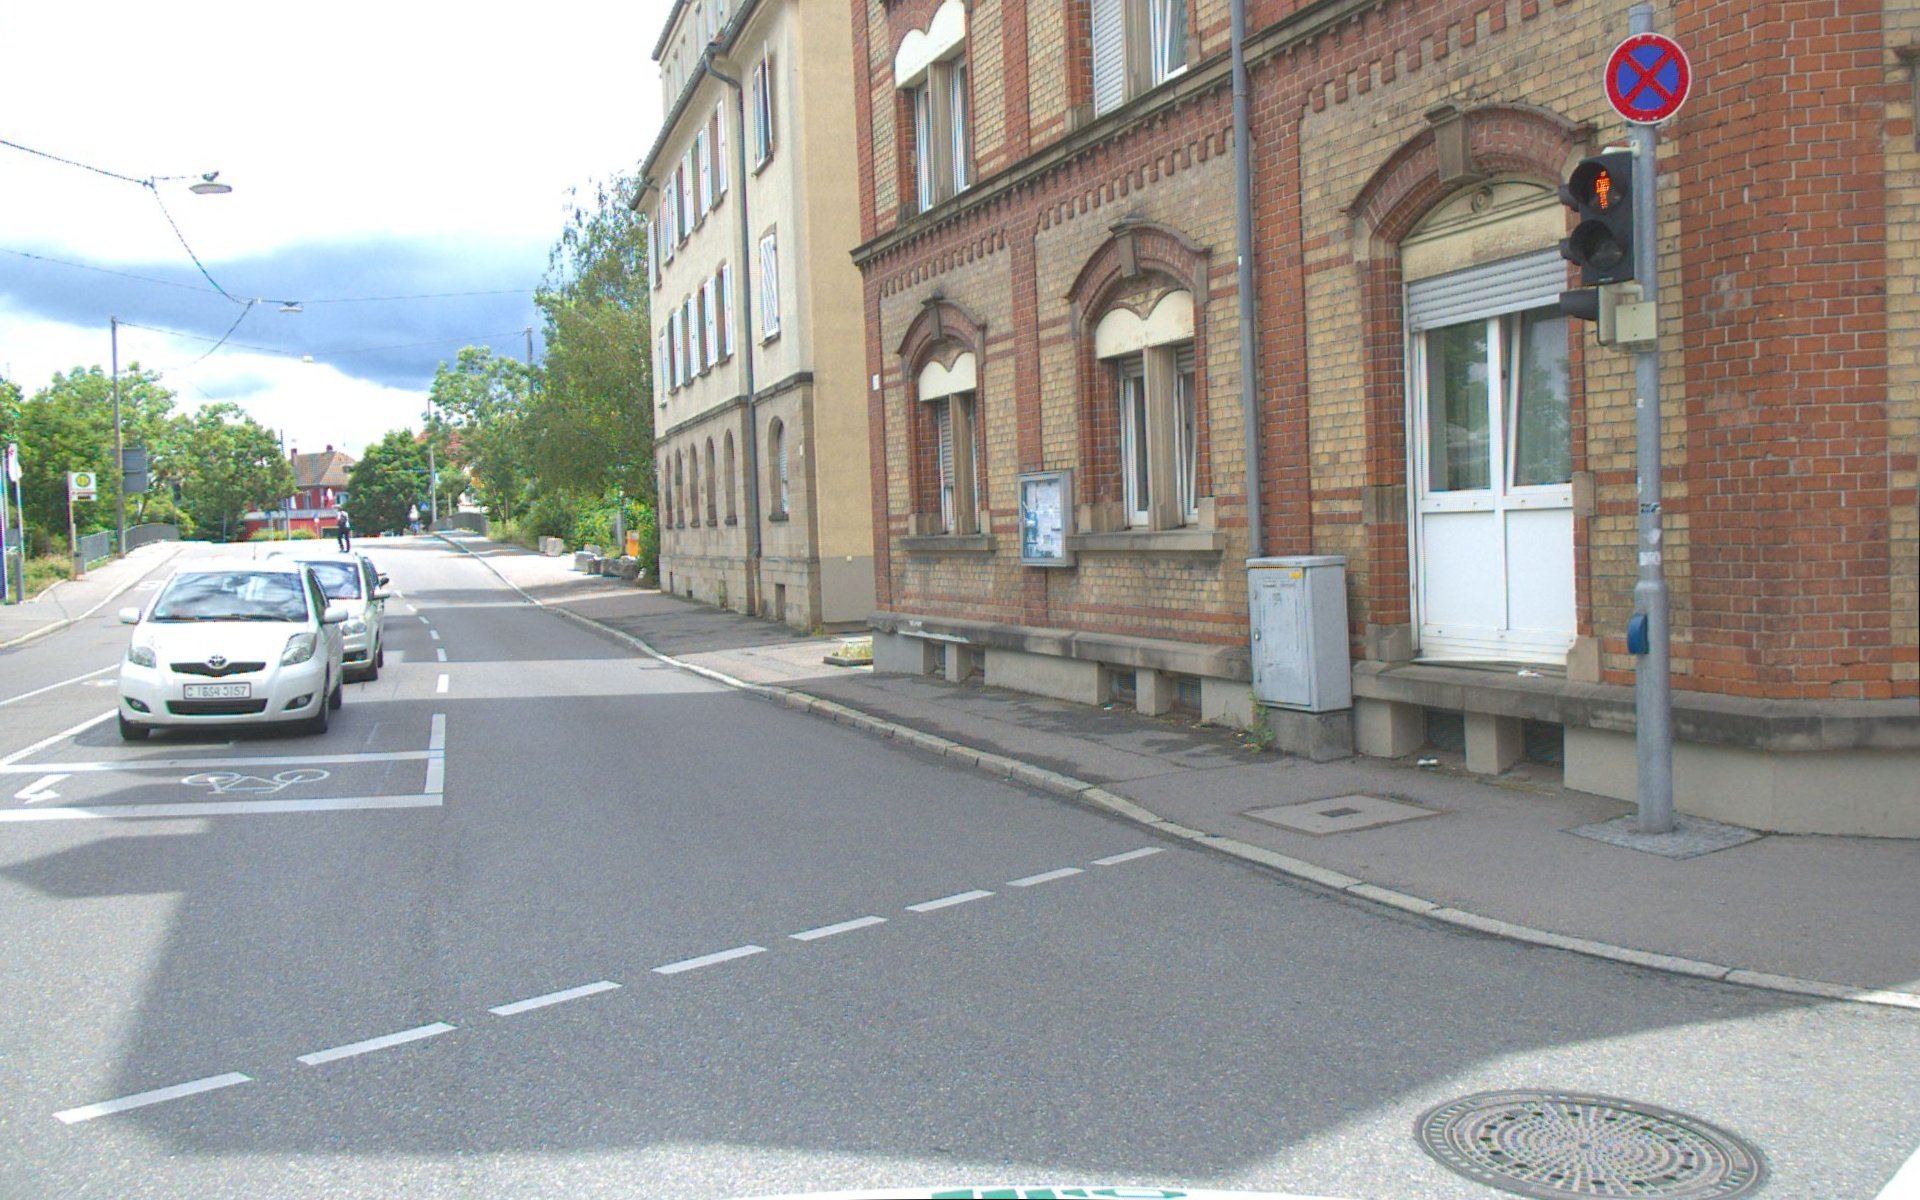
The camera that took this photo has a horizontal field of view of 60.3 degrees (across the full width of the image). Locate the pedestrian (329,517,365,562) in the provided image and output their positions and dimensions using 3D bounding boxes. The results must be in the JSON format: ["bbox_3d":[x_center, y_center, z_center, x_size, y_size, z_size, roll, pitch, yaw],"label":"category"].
[{"bbox_3d":[-25.985,-2.577,70.131,1.011,1.868,1.000,0,3,6],"label":"pedestrian"}]

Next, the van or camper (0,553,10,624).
[{"bbox_3d":[-26.414,-0.145,40.912,4.594,1.779,1.992,-3,4,-17],"label":"van or camper"}]

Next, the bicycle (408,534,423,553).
[{"bbox_3d":[-30.574,-3.154,92.845,0.676,0.893,2.092,-2,-2,-16],"label":"bicycle"}]

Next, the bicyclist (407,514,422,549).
[{"bbox_3d":[-30.601,-3.843,92.802,0.674,1.857,1.075,-2,-2,-17],"label":"bicyclist"}]

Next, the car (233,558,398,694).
[{"bbox_3d":[-8.429,0.260,21.943,1.692,1.609,4.298,-1,1,-17],"label":"car"}]

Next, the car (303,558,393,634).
[{"bbox_3d":[-12.974,-0.118,34.989,1.695,1.510,3.301,-1,1,-22],"label":"car"}]

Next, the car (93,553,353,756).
[{"bbox_3d":[-6.668,0.388,15.344,1.692,1.609,3.981,-1,1,-17],"label":"car"}]

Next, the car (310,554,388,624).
[{"bbox_3d":[-14.942,-0.303,40.382,1.695,1.609,3.974,-1,1,-21],"label":"car"}]
